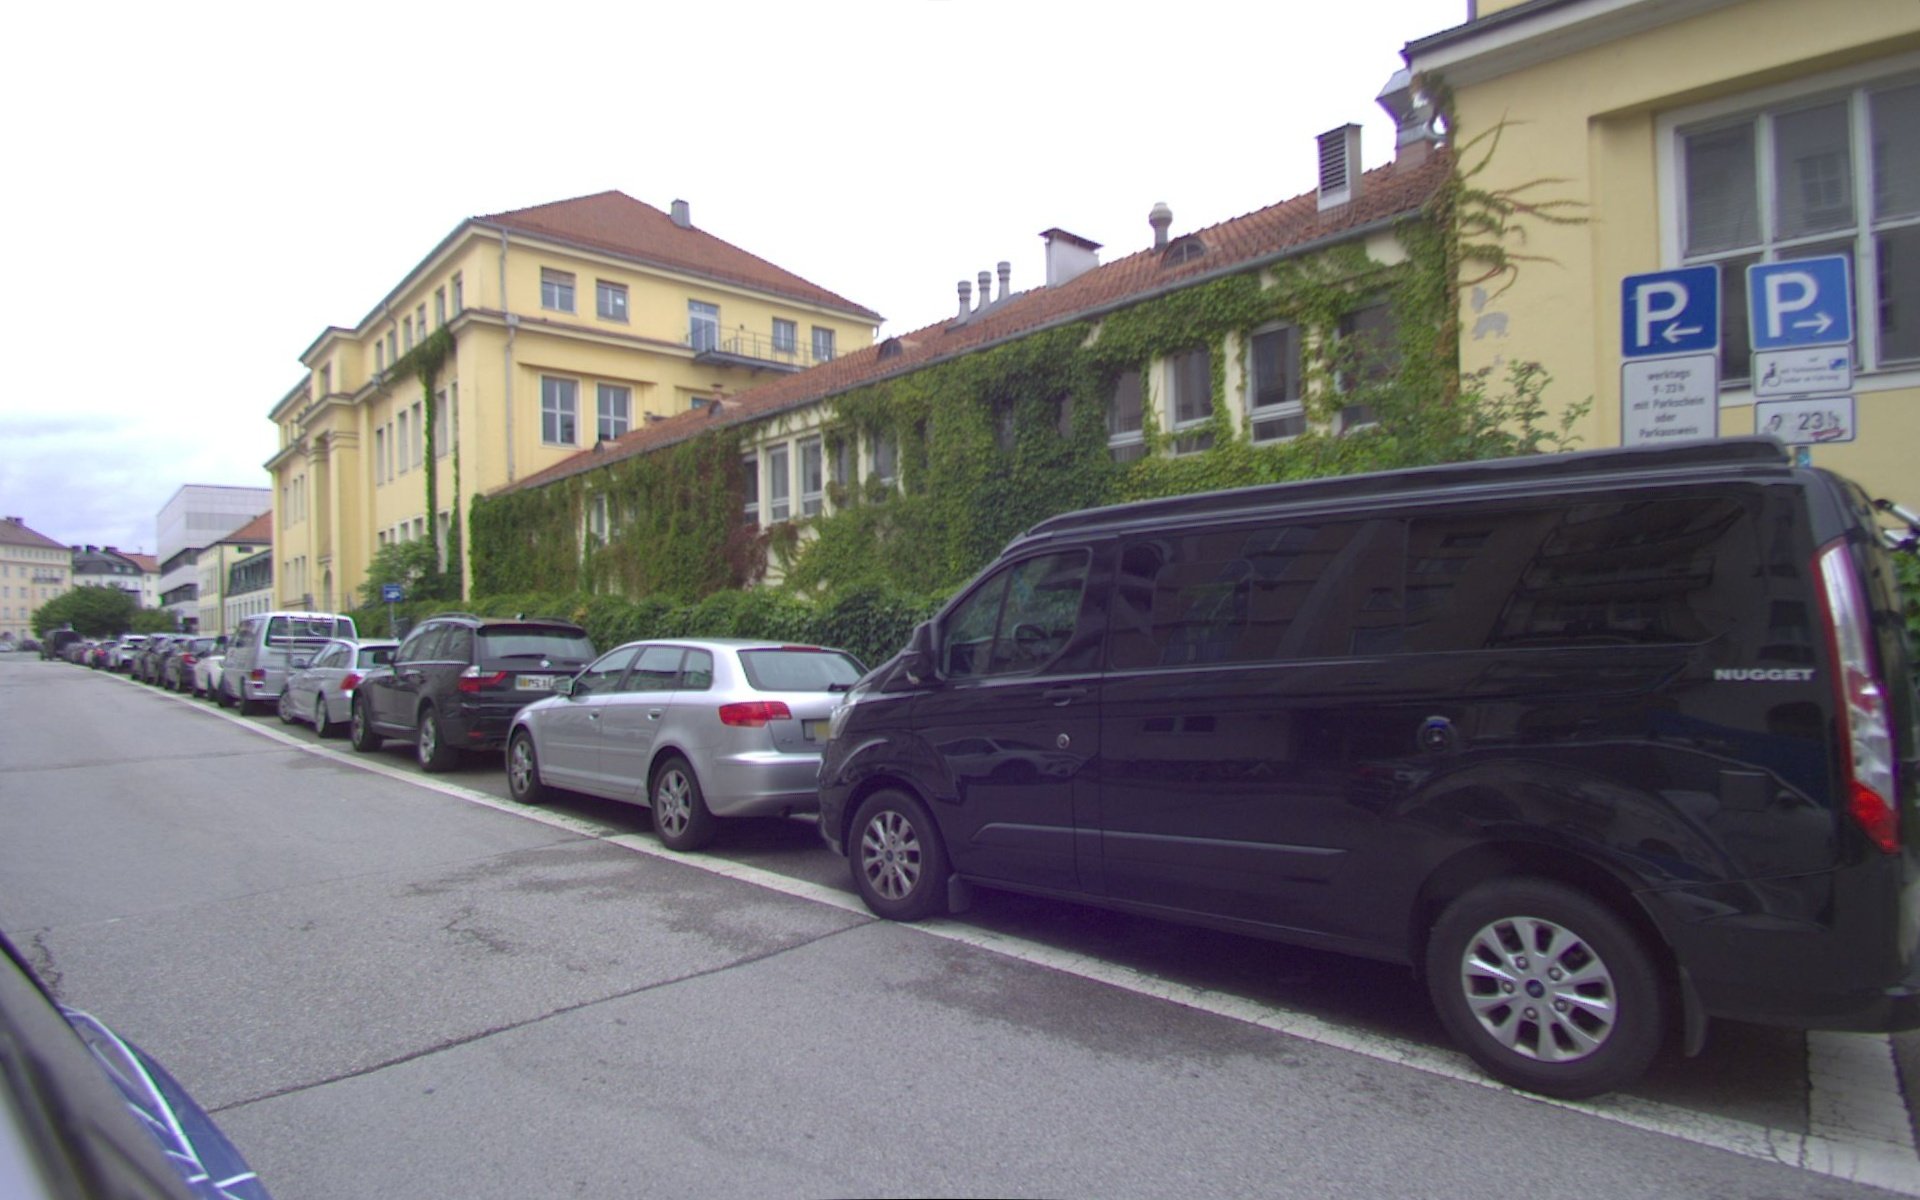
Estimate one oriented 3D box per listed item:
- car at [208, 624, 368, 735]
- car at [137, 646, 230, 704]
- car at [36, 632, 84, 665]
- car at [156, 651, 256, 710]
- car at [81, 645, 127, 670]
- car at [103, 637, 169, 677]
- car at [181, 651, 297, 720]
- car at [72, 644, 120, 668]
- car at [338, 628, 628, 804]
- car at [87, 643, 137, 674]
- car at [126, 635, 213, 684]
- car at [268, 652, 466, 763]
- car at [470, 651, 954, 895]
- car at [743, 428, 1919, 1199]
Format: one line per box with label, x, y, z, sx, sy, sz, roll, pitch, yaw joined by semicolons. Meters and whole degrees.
car;-13.174;1.468;19.713;1.864;1.904;4.780;4;-4;-42
car;-23.990;2.269;31.203;1.704;1.642;4.469;3;-4;-44
car;-81.492;4.418;91.617;6.190;2.876;2.191;-2;-4;39
car;-20.529;2.147;27.489;1.584;1.441;4.255;4;-5;-44
car;-52.110;3.505;61.580;1.773;1.440;4.667;5;-5;-44
car;-36.514;2.497;44.827;4.858;1.646;1.726;-3;-3;45
car;-16.917;1.939;23.672;1.572;1.452;4.021;4;-4;-44
car;-56.084;3.635;65.660;4.531;1.493;1.935;-2;-4;45
car;-5.695;1.262;11.788;1.677;1.655;4.493;4;-6;-44
car;-43.591;2.971;52.002;1.679;1.508;4.153;5;-5;-43
car;-27.253;2.027;34.824;1.768;1.599;4.821;4;-5;-44
car;-9.318;1.552;15.712;1.633;1.425;4.776;4;-5;-42
car;-2.230;1.161;8.169;1.675;1.404;4.503;6;-6;-44
car;1.432;0.642;4.809;5.348;1.979;2.051;-2;-3;42
